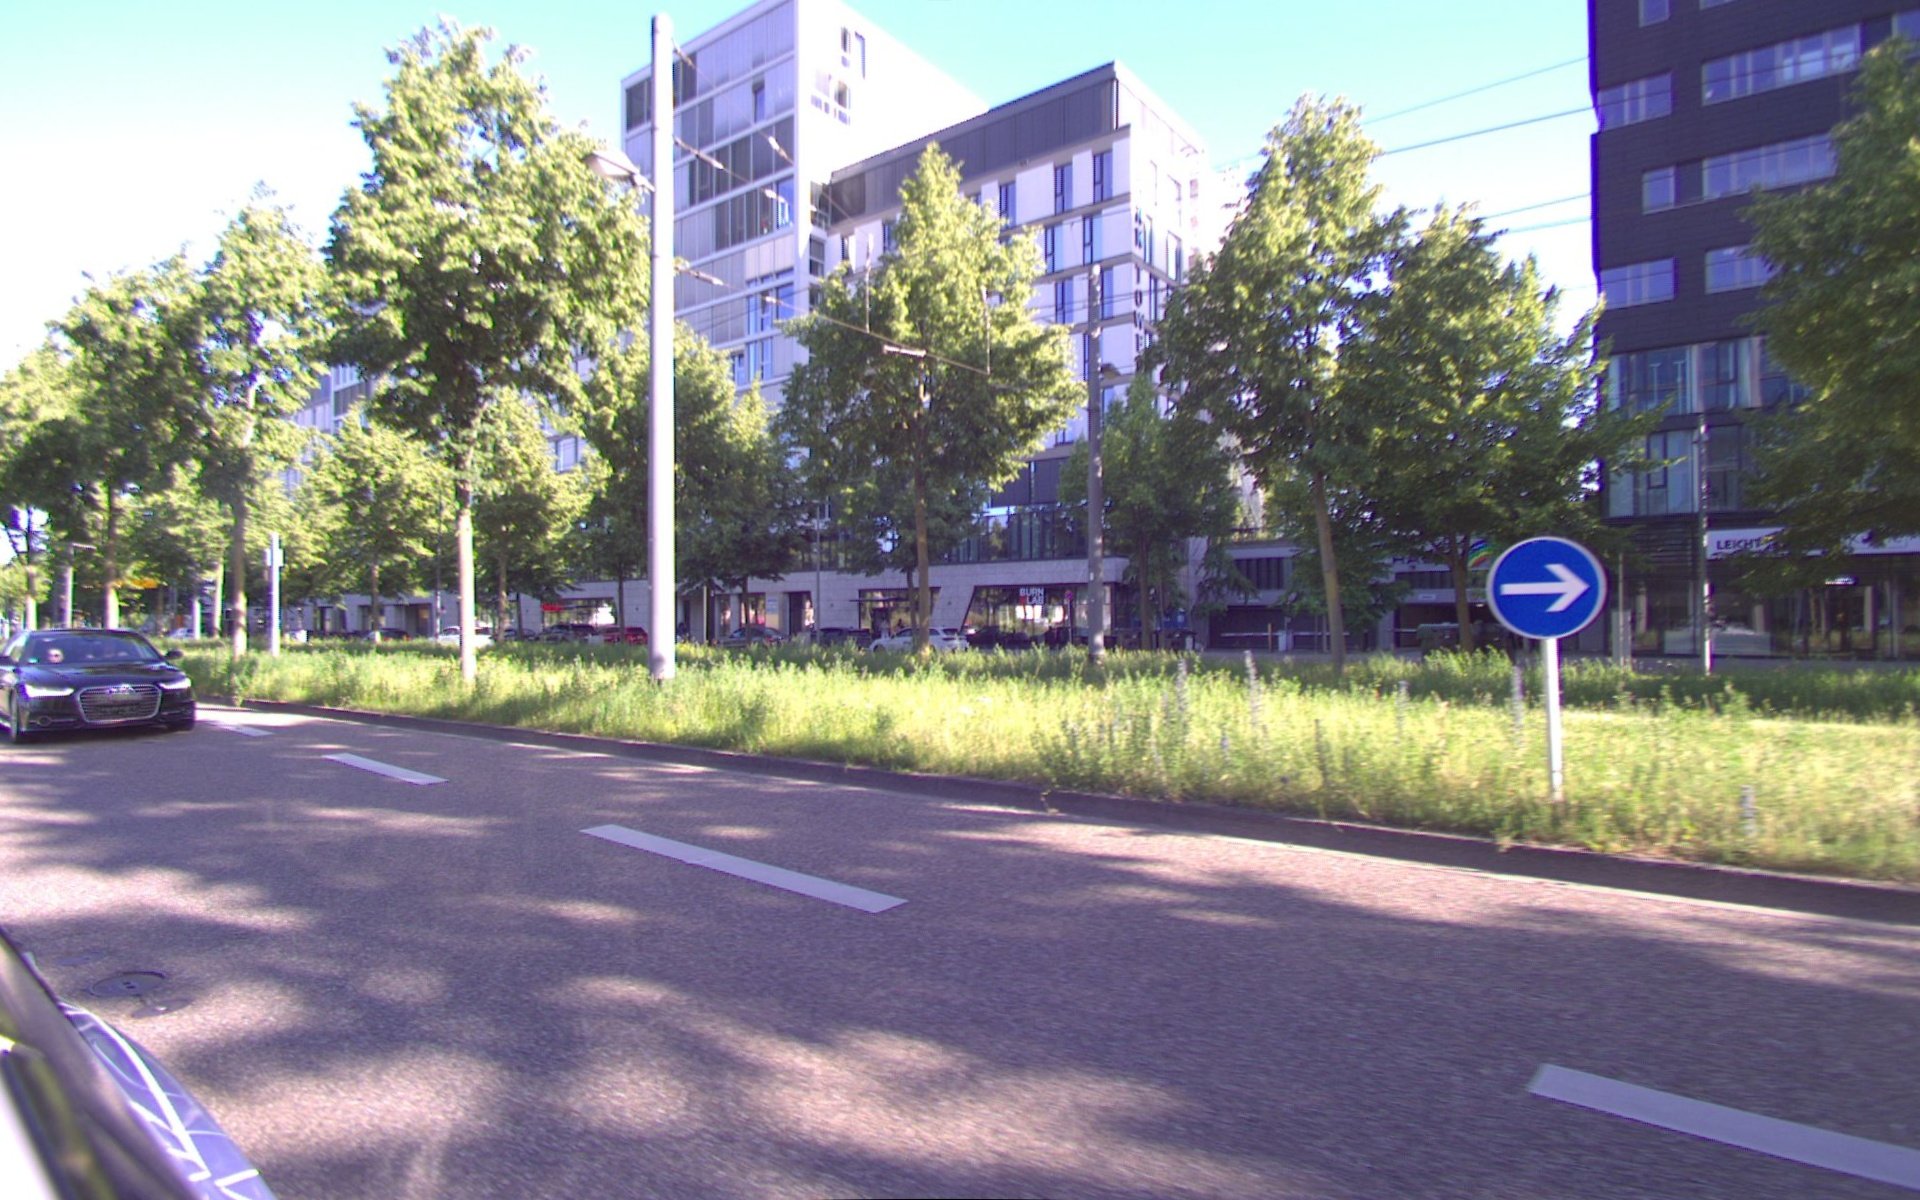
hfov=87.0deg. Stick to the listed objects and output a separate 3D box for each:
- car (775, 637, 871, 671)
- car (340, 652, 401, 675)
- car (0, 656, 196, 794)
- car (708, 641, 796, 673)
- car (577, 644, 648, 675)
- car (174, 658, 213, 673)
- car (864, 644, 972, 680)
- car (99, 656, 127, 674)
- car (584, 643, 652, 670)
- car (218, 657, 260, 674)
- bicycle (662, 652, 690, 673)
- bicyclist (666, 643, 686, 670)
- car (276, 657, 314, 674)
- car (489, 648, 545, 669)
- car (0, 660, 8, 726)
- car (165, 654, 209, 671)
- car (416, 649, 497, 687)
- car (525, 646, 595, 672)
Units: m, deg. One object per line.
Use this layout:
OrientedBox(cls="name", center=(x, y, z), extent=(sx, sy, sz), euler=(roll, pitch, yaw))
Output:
OrientedBox(cls="car", center=(-6.300, 2.485, 46.331), extent=(4.540, 1.431, 1.698), euler=(-3, -3, 39))
OrientedBox(cls="car", center=(-34.866, 3.739, 59.823), extent=(3.994, 1.273, 1.781), euler=(-3, -2, 38))
OrientedBox(cls="car", center=(-12.339, 1.586, 14.041), extent=(4.596, 1.538, 1.766), euler=(-2, -2, 40))
OrientedBox(cls="car", center=(-10.214, 2.774, 49.490), extent=(4.538, 1.431, 1.699), euler=(-3, -2, 38))
OrientedBox(cls="car", center=(-22.176, 3.809, 64.515), extent=(5.121, 1.790, 1.781), euler=(-3, -2, 38))
OrientedBox(cls="car", center=(-75.330, 6.432, 99.430), extent=(4.538, 1.431, 1.940), euler=(-2, -2, 38))
OrientedBox(cls="car", center=(-1.821, 2.608, 42.779), extent=(4.538, 1.431, 1.699), euler=(-2, -2, 38))
OrientedBox(cls="car", center=(-98.807, 7.565, 118.072), extent=(3.995, 1.940, 1.782), euler=(-1, -1, 39))
OrientedBox(cls="car", center=(-18.982, 3.124, 56.108), extent=(3.747, 1.364, 1.717), euler=(-2, 0, 37))
OrientedBox(cls="car", center=(-66.327, 6.022, 93.067), extent=(4.538, 1.431, 1.980), euler=(-2, -2, 38))
OrientedBox(cls="bicycle", center=(-15.771, 3.486, 56.256), extent=(1.569, 1.128, 0.725), euler=(-3, -2, 40))
OrientedBox(cls="bicyclist", center=(-15.780, 3.135, 56.269), extent=(0.831, 1.475, 0.713), euler=(-3, -2, 40))
OrientedBox(cls="car", center=(-55.334, 5.456, 84.187), extent=(3.460, 1.244, 1.634), euler=(0, -1, 37))
OrientedBox(cls="car", center=(-27.574, 3.653, 62.913), extent=(3.577, 1.217, 1.652), euler=(-2, -2, 37))
OrientedBox(cls="car", center=(-25.199, 2.291, 24.936), extent=(4.521, 1.581, 1.827), euler=(-3, -2, 37))
OrientedBox(cls="car", center=(-63.863, 5.190, 83.573), extent=(4.303, 1.302, 1.781), euler=(-4, -4, 37))
OrientedBox(cls="car", center=(-24.317, 3.273, 48.813), extent=(4.313, 1.702, 1.781), euler=(-3, -2, 37))
OrientedBox(cls="car", center=(-23.657, 3.458, 59.816), extent=(4.797, 1.430, 1.652), euler=(-2, -2, 37))
